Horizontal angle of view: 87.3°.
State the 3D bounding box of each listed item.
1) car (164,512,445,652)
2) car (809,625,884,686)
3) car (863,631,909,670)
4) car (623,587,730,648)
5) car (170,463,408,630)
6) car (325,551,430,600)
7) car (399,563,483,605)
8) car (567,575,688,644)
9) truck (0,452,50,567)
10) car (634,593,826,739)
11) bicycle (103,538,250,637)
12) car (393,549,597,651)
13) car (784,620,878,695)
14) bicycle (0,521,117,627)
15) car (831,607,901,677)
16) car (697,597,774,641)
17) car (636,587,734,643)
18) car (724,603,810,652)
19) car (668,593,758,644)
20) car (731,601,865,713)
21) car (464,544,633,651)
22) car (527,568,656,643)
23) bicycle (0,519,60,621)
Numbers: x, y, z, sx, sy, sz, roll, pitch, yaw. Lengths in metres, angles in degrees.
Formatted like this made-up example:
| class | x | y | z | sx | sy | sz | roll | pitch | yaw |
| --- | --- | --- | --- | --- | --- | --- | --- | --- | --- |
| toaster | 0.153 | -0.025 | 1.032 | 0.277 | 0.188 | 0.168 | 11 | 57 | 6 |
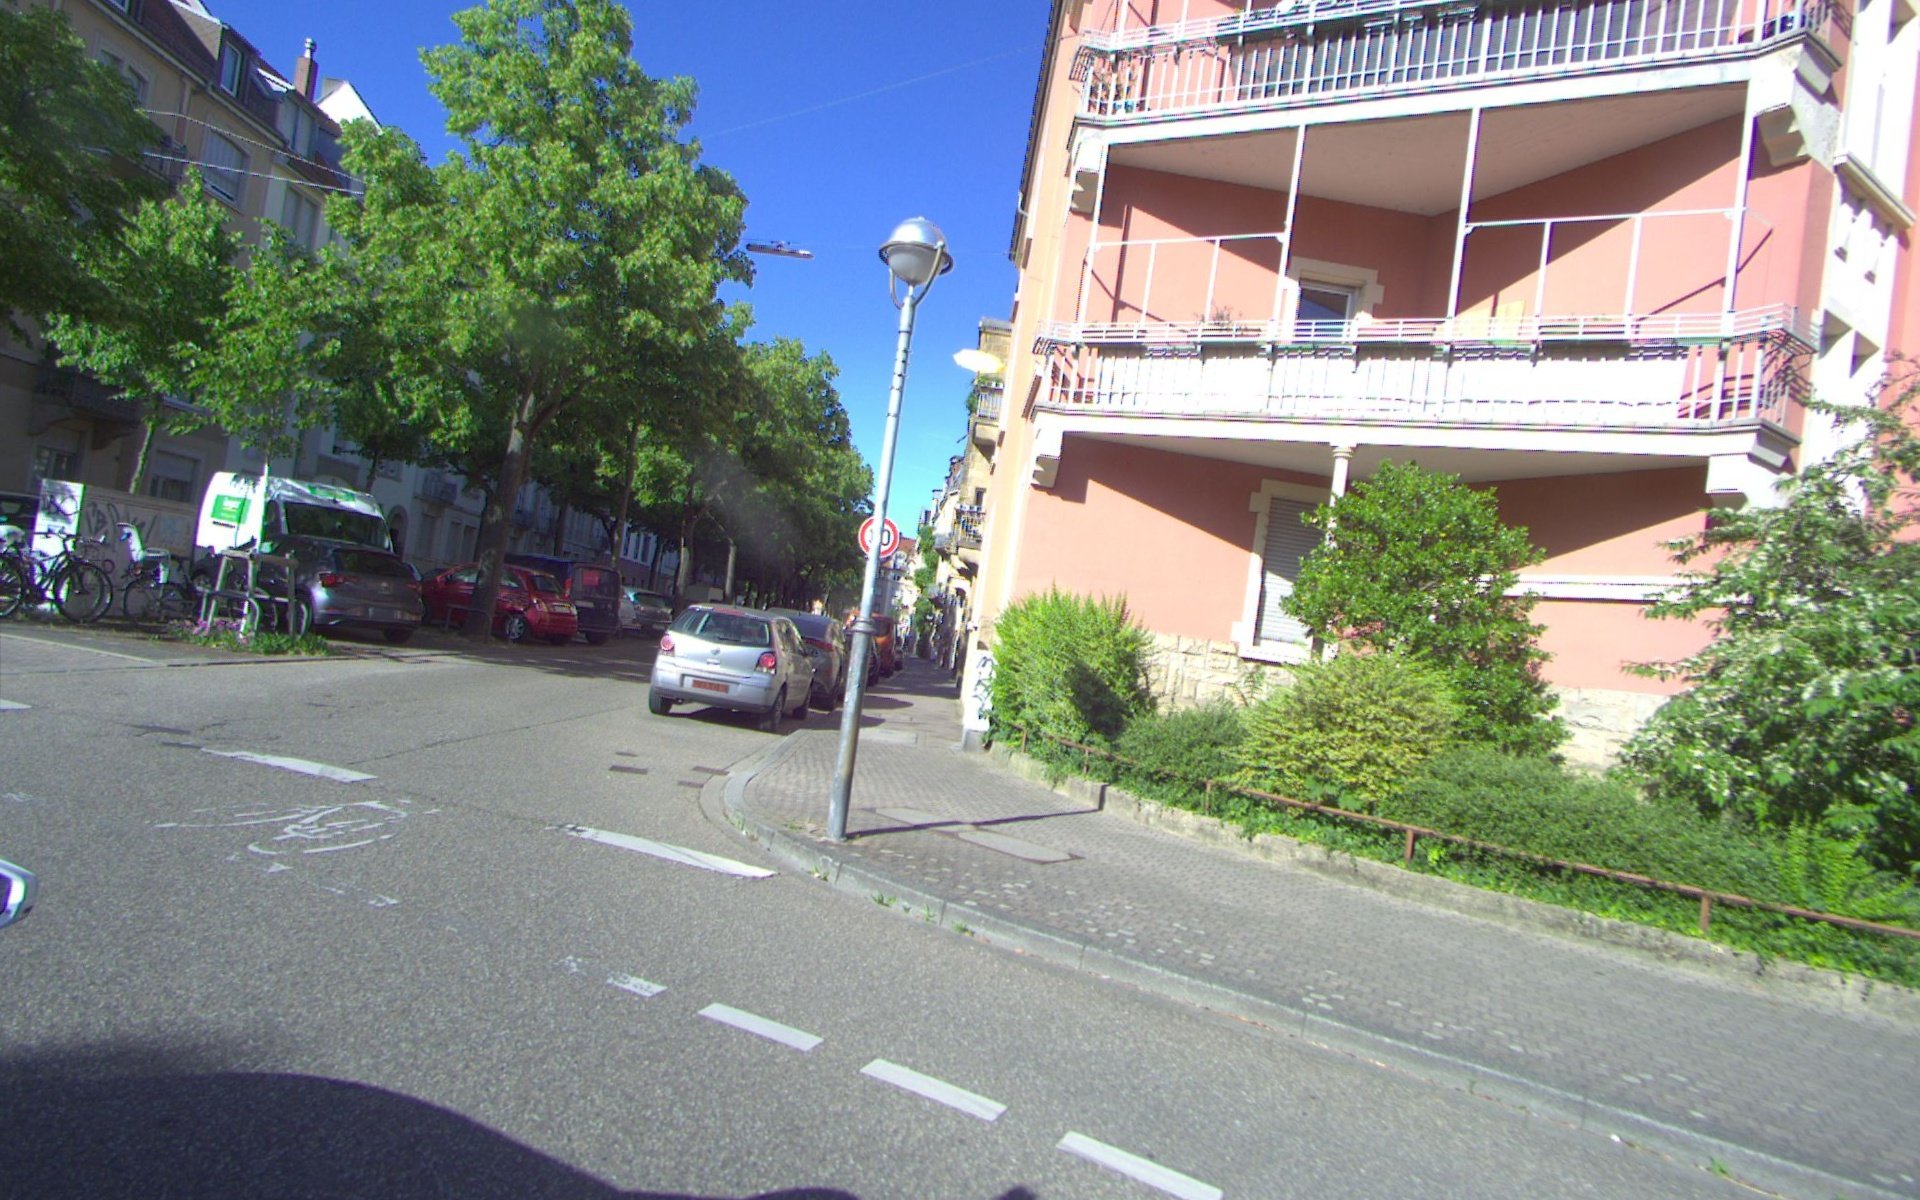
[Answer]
| class | x | y | z | sx | sy | sz | roll | pitch | yaw |
| --- | --- | --- | --- | --- | --- | --- | --- | --- | --- |
| car | -10.195 | -0.281 | 15.639 | 3.851 | 1.462 | 1.689 | 9 | -2 | 24 |
| car | -3.208 | 1.579 | 29.004 | 1.658 | 1.397 | 3.283 | 10 | -2 | -1 |
| car | -3.273 | 2.240 | 45.002 | 1.658 | 1.397 | 3.498 | 10 | -2 | -1 |
| car | -9.691 | 0.578 | 34.307 | 3.332 | 1.486 | 1.685 | 8 | -2 | 37 |
| car | -13.879 | -1.198 | 20.598 | 6.283 | 2.629 | 2.097 | 8 | -2 | 40 |
| car | -21.304 | -0.851 | 36.975 | 1.658 | 1.406 | 3.922 | 7 | -2 | -4 |
| car | -21.926 | -0.641 | 42.677 | 1.658 | 1.406 | 3.922 | 7 | -2 | -4 |
| car | -10.014 | 0.281 | 30.226 | 3.332 | 1.486 | 1.685 | 8 | -2 | 37 |
| truck | -21.181 | -2.142 | 18.808 | 2.100 | 2.318 | 6.625 | 7 | -2 | 0 |
| car | -2.950 | 0.843 | 13.659 | 1.658 | 1.462 | 3.548 | 10 | -2 | -1 |
| bicycle | -9.662 | -0.116 | 12.479 | 0.411 | 1.098 | 1.527 | 9 | -1 | 3 |
| car | -9.540 | 0.018 | 20.737 | 3.320 | 1.462 | 1.691 | 9 | -2 | 13 |
| car | -2.984 | 1.328 | 23.841 | 1.658 | 1.397 | 3.283 | 10 | -2 | -1 |
| bicycle | -10.404 | -0.278 | 11.279 | 0.411 | 1.098 | 1.527 | 9 | -1 | 3 |
| car | -3.328 | 1.502 | 36.312 | 1.907 | 2.067 | 4.277 | 10 | -2 | -1 |
| car | -10.764 | 0.896 | 48.250 | 3.332 | 1.486 | 1.685 | 8 | -2 | 37 |
| car | -10.224 | 0.561 | 37.352 | 3.332 | 1.486 | 1.685 | 8 | -2 | 37 |
| car | -8.309 | 1.167 | 43.302 | 3.332 | 1.486 | 1.685 | 8 | -2 | 37 |
| car | -10.102 | 0.742 | 41.127 | 3.332 | 1.486 | 1.685 | 8 | -2 | 37 |
| car | -2.860 | 1.015 | 18.694 | 1.658 | 1.579 | 4.297 | 10 | -2 | -1 |
| car | -9.561 | -0.066 | 23.370 | 3.325 | 1.886 | 1.688 | 9 | -2 | 28 |
| car | -10.296 | 0.144 | 28.075 | 3.332 | 1.486 | 1.685 | 8 | -2 | 37 |
| bicycle | -10.848 | -0.361 | 10.987 | 0.411 | 1.101 | 1.575 | 9 | -1 | 2 |
